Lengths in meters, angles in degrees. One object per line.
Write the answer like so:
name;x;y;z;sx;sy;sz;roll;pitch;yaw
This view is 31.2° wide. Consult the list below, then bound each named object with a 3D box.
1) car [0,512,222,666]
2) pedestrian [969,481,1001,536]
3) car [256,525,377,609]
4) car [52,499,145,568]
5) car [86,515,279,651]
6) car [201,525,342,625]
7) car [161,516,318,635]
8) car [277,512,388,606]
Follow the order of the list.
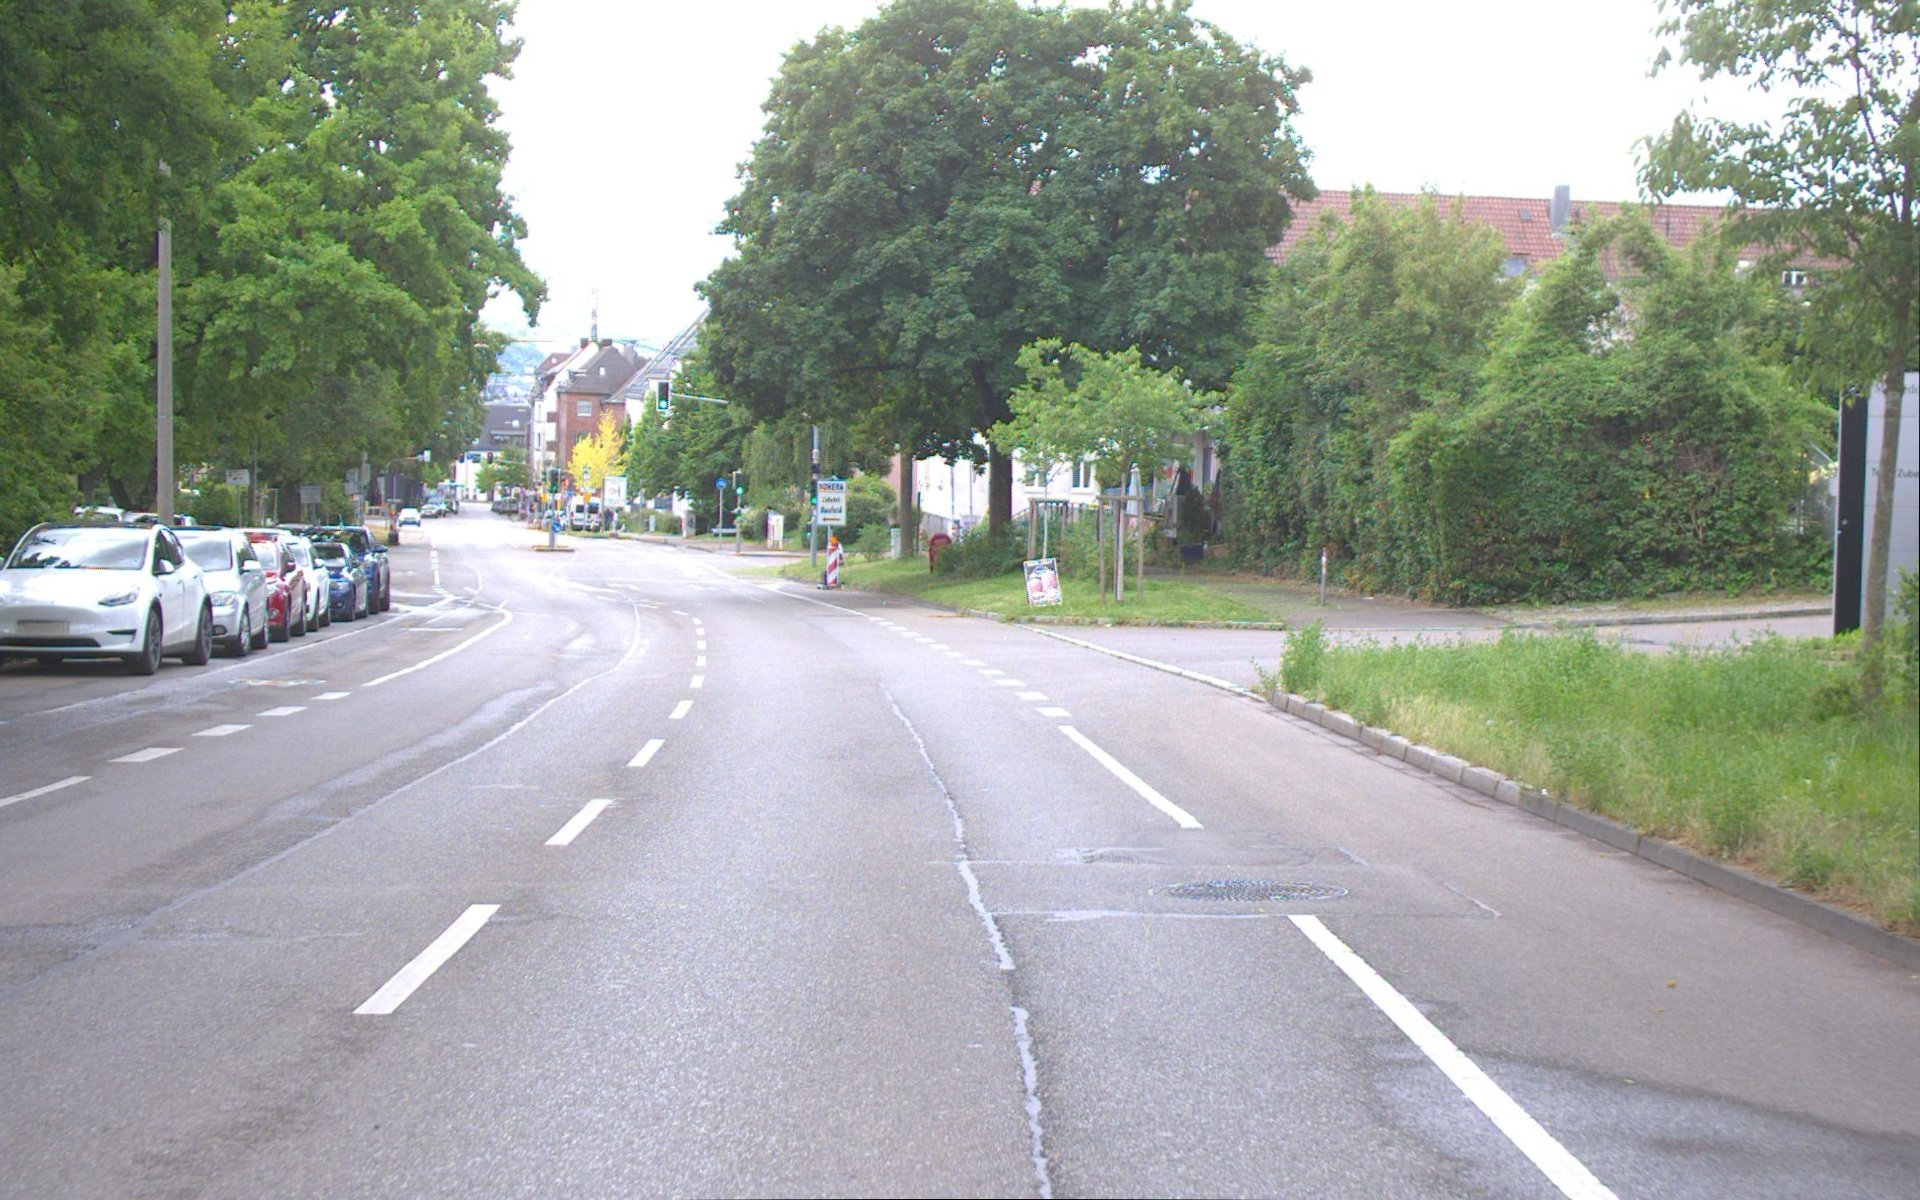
car;-9.409;-0.149;37.672;1.767;1.567;4.760;0;1;-2
pedestrian;0.841;-3.143;117.882;0.747;1.848;0.955;-2;2;-23
car;-11.139;-0.598;59.692;1.715;1.384;4.339;1;1;-6
car;-21.613;-1.673;86.388;1.761;1.627;4.289;2;1;-8
car;-9.687;-0.234;43.096;1.868;1.567;4.121;1;1;-6
car;-10.727;-0.408;53.828;1.715;1.454;4.758;1;1;-6
car;-10.152;-0.371;48.694;1.715;1.567;4.372;1;1;-6
car;-11.870;-0.807;65.262;1.715;1.607;4.536;1;2;-6
